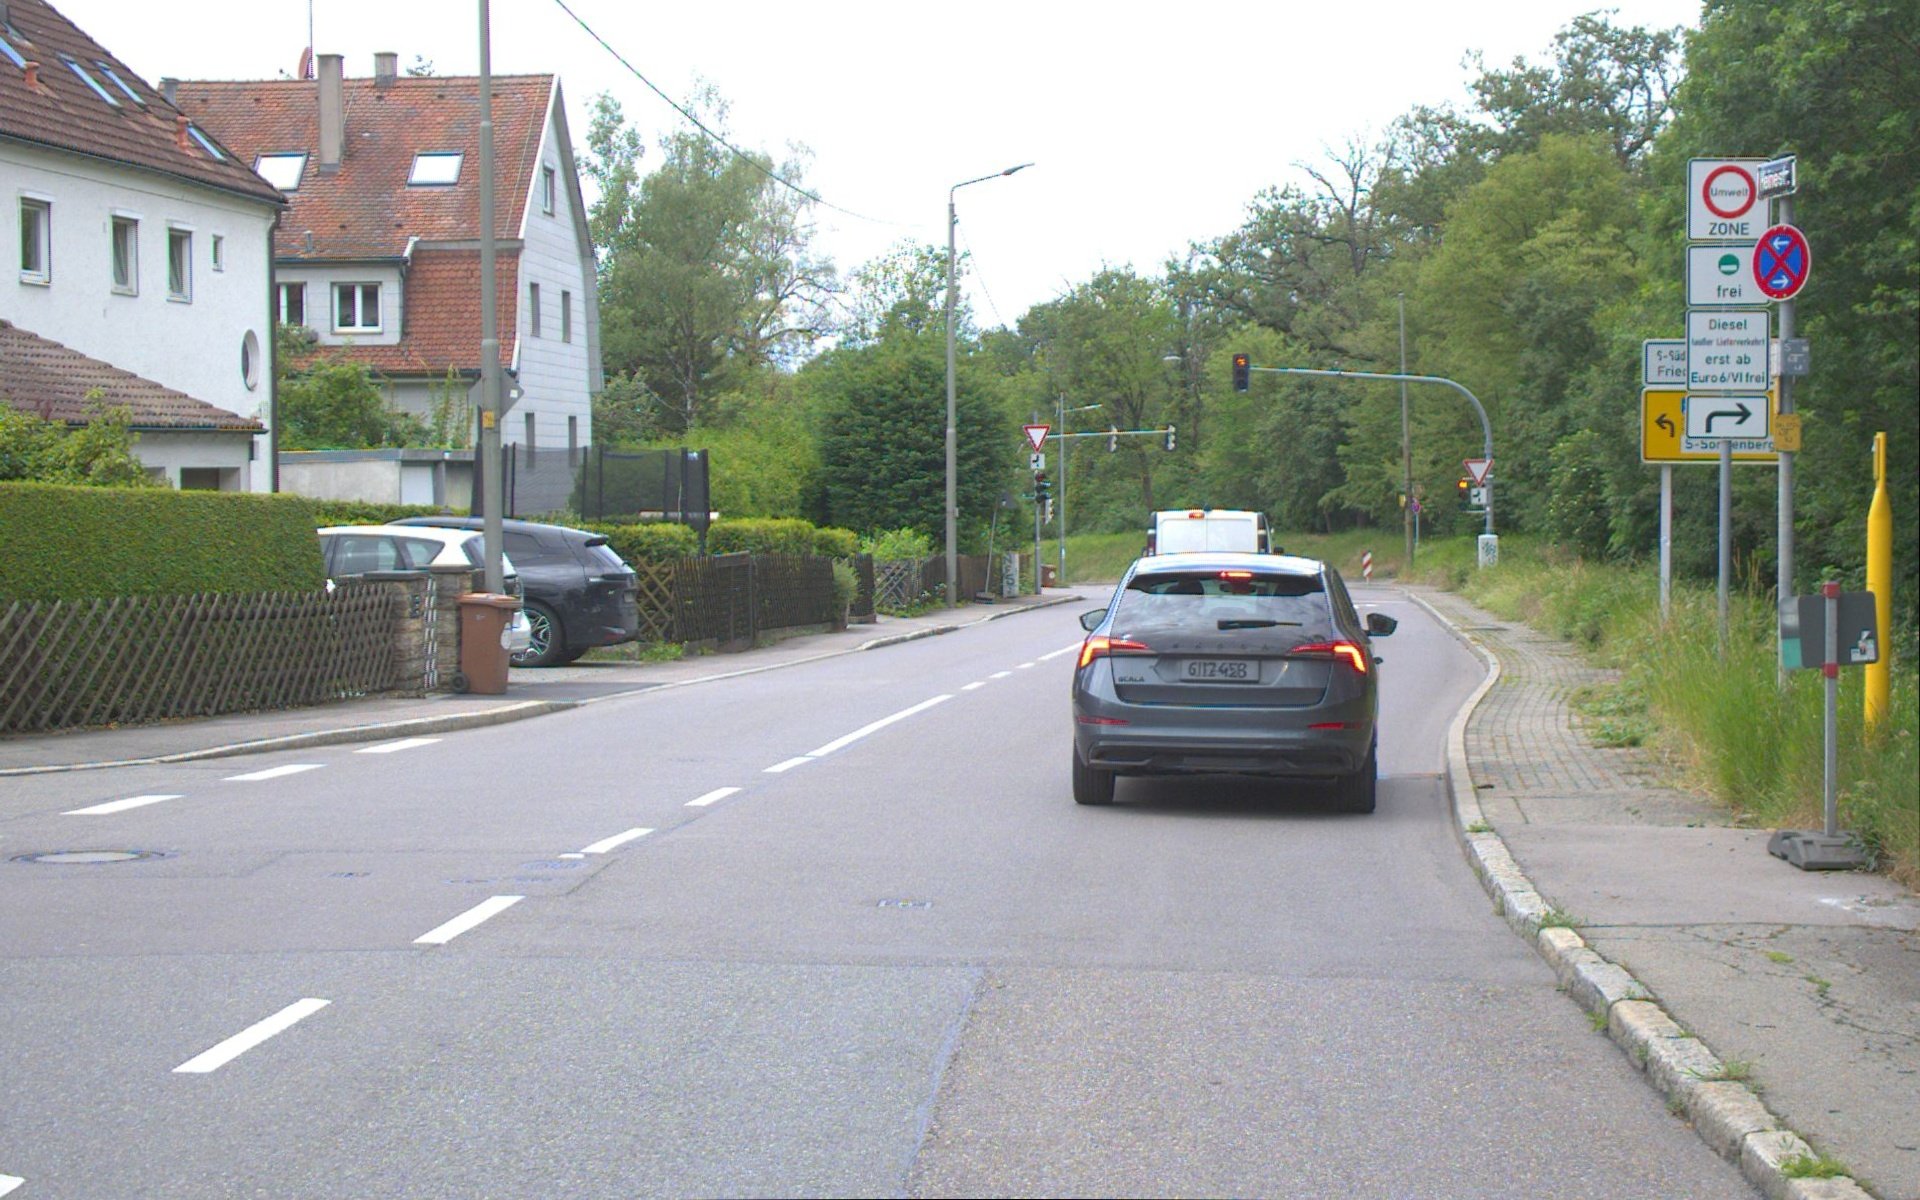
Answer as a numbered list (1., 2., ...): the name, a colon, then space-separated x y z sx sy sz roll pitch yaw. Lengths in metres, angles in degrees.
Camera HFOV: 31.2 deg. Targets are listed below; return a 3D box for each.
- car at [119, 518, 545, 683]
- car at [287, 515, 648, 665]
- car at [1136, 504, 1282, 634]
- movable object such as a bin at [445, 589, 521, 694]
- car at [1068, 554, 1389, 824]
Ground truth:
1. car: -6.345 -0.016 35.076 3.987 1.612 2.000 0 1 -1
2. car: -5.712 -0.137 40.261 3.986 1.700 1.917 0 1 -2
3. car: 3.827 -0.492 53.597 2.072 1.915 4.922 0 1 2
4. movable object such as a bin: -4.407 0.381 31.767 0.599 0.947 0.579 0 1 2
5. car: 1.704 0.450 20.794 1.728 1.434 4.323 1 1 7
